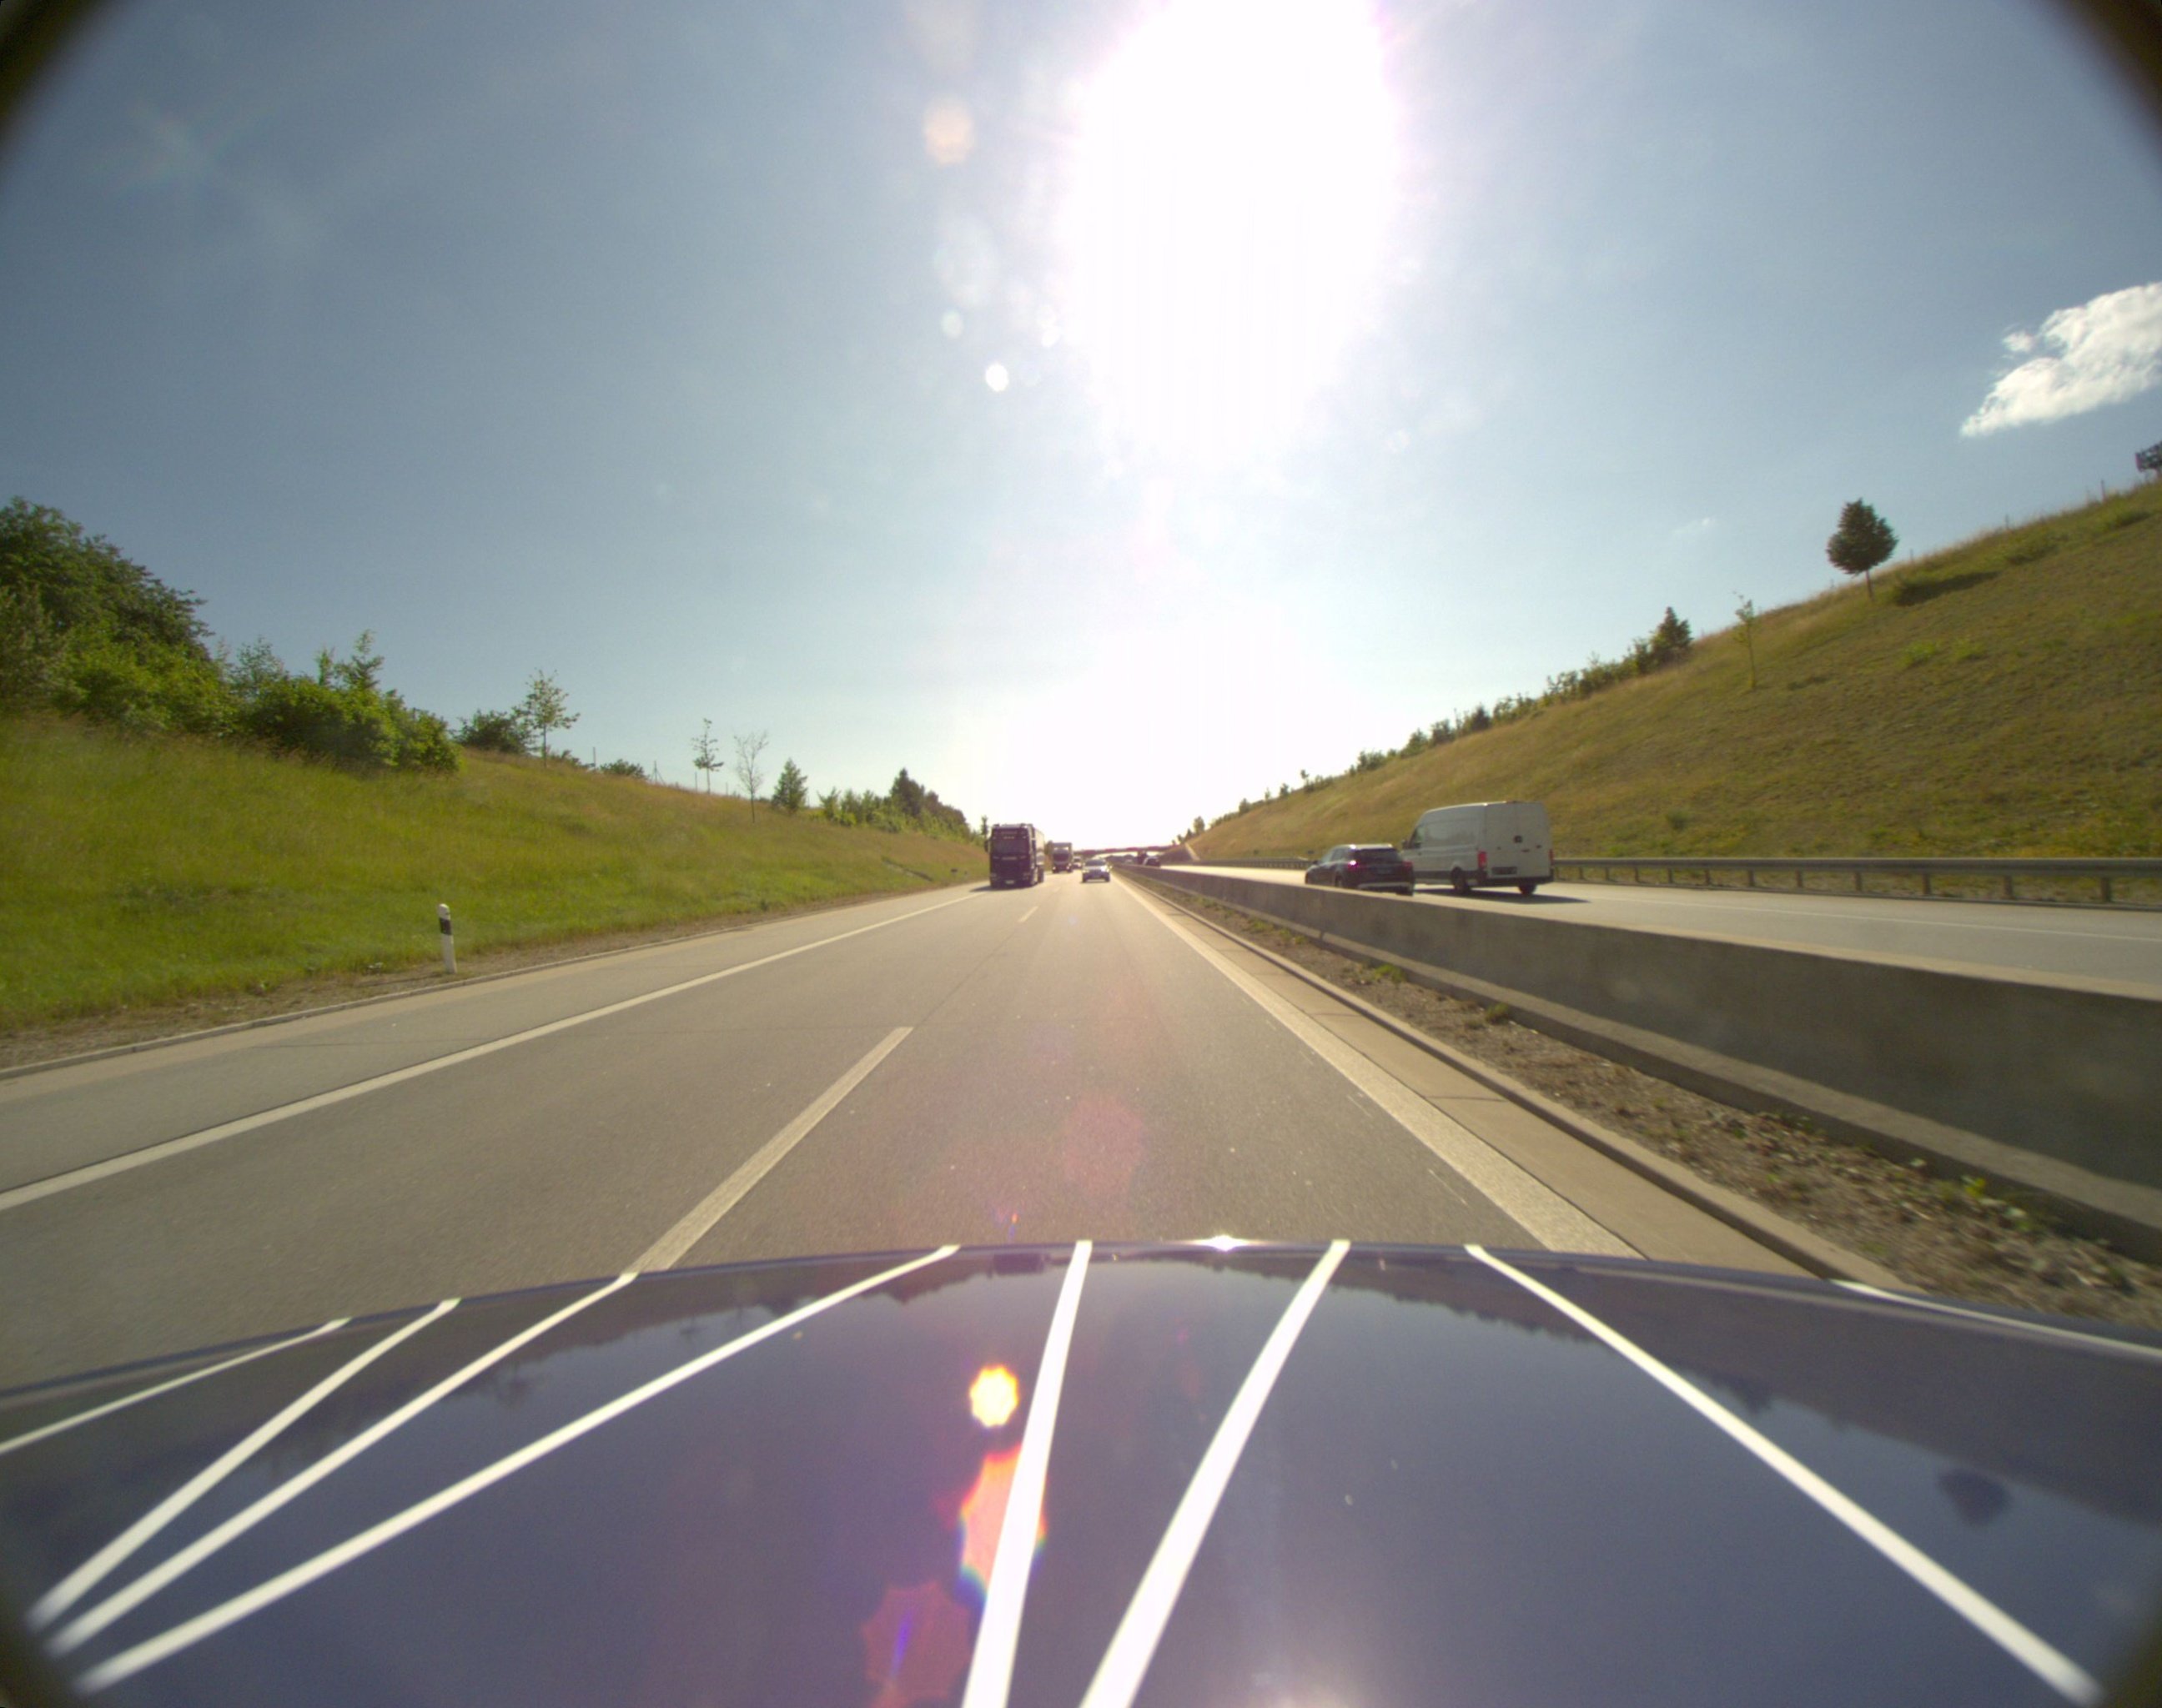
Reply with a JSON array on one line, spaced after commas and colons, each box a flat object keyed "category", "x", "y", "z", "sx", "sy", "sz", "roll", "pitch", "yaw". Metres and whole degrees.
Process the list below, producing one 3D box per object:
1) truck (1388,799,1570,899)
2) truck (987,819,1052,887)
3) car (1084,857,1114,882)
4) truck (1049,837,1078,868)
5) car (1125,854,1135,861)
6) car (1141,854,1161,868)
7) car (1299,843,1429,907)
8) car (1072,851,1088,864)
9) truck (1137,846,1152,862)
[{"category": "truck", "x": 11.313, "y": -0.128, "z": 22.286, "sx": 2.118, "sy": 2.446, "sz": 5.951, "roll": -3, "pitch": 0, "yaw": 0}, {"category": "truck", "x": -3.785, "y": -0.079, "z": 50.290, "sx": 2.623, "sy": 3.795, "sz": 13.404, "roll": -2, "pitch": 0, "yaw": 2}, {"category": "car", "x": 1.237, "y": 1.021, "z": 51.016, "sx": 1.795, "sy": 1.501, "sz": 3.636, "roll": -4, "pitch": 0, "yaw": 3}, {"category": "truck", "x": -2.186, "y": -0.188, "z": 101.733, "sx": 3.024, "sy": 3.795, "sz": 13.404, "roll": -2, "pitch": 0, "yaw": 2}, {"category": "car", "x": 10.973, "y": 0.847, "z": 171.337, "sx": 1.858, "sy": 1.453, "sz": 4.728, "roll": -3, "pitch": 0, "yaw": 0}, {"category": "car", "x": 8.160, "y": 0.800, "z": 89.168, "sx": 1.858, "sy": 1.453, "sz": 4.768, "roll": -3, "pitch": 0, "yaw": 0}, {"category": "car", "x": 7.425, "y": 0.501, "z": 20.426, "sx": 1.858, "sy": 1.453, "sz": 4.333, "roll": -3, "pitch": 0, "yaw": 0}, {"category": "car", "x": -0.151, "y": 0.598, "z": 140.586, "sx": 2.816, "sy": 2.143, "sz": 5.947, "roll": -2, "pitch": 0, "yaw": 0}, {"category": "truck", "x": 16.028, "y": -0.051, "z": 191.495, "sx": 2.763, "sy": 3.918, "sz": 12.448, "roll": -2, "pitch": 0, "yaw": 1}]
